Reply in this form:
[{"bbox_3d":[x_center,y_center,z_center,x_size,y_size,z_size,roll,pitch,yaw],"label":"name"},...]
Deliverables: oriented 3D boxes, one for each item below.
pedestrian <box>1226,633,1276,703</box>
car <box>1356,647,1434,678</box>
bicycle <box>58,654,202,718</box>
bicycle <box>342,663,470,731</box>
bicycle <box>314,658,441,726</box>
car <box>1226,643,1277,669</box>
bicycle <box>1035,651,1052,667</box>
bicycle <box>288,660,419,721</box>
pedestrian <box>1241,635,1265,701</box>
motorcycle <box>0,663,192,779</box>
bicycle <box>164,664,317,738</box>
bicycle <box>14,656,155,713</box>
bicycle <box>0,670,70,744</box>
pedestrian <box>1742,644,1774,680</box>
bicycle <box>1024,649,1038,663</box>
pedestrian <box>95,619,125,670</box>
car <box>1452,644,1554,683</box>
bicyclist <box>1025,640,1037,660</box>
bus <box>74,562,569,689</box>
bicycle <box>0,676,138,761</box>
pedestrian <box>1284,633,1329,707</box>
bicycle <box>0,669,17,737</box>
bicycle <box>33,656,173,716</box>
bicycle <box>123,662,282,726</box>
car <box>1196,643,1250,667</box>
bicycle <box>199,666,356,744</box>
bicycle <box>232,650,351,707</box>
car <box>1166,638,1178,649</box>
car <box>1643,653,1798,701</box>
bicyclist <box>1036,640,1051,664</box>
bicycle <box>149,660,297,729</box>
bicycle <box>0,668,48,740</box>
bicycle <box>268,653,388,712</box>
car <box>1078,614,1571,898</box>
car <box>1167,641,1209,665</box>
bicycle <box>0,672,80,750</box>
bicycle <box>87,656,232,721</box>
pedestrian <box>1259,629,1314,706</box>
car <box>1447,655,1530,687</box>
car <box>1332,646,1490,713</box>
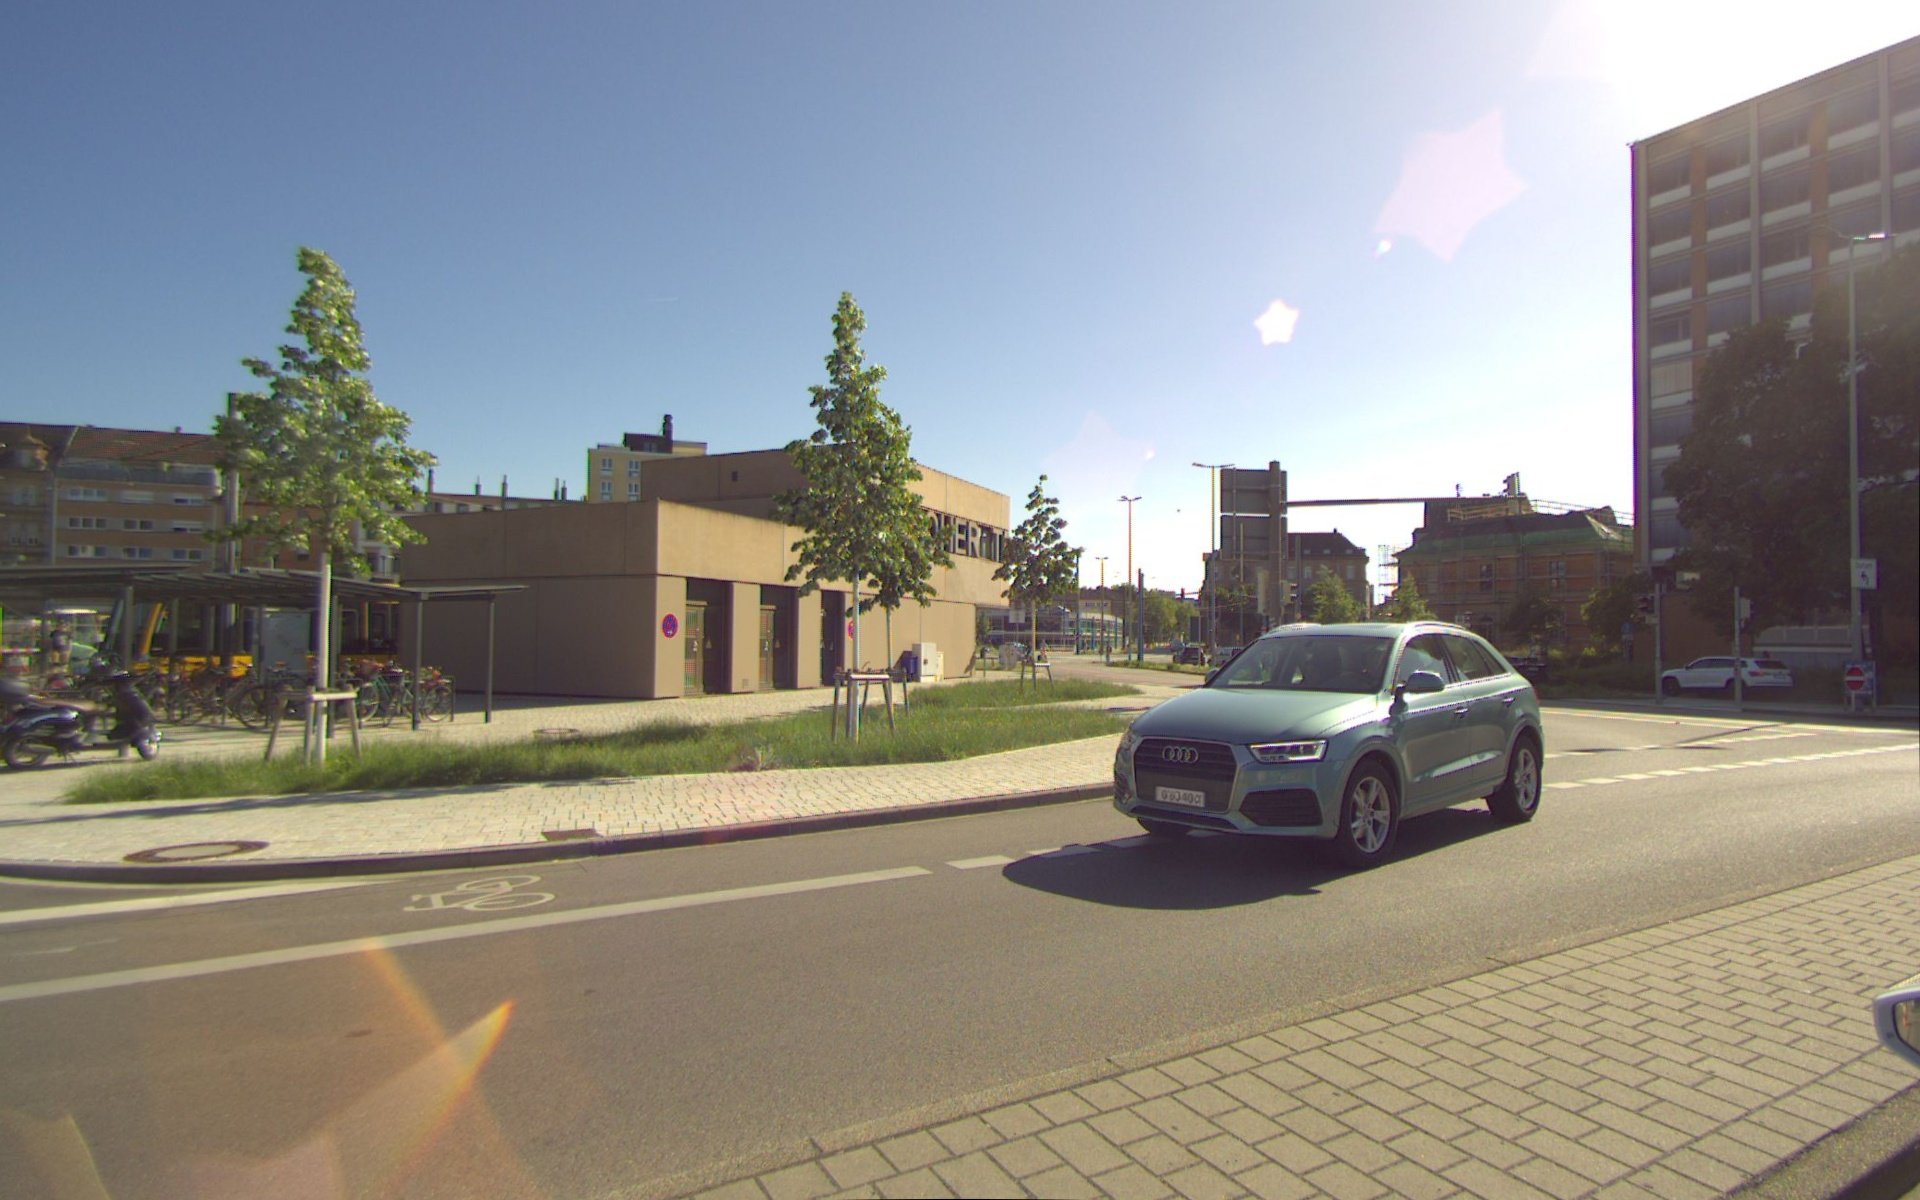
[{"bbox_3d":[7.368,1.726,25.429,0.831,1.711,0.896,5,-5,-34],"label":"pedestrian"},{"bbox_3d":[21.912,3.132,50.725,1.712,1.454,3.840,1,-2,-12],"label":"car"},{"bbox_3d":[-15.901,1.620,19.323,0.524,1.051,2.070,5,1,26],"label":"bicycle"},{"bbox_3d":[-9.966,1.717,18.164,0.524,1.051,2.070,2,0,26],"label":"bicycle"},{"bbox_3d":[-10.797,1.679,18.702,0.594,1.093,2.053,2,0,25],"label":"bicycle"},{"bbox_3d":[20.098,3.833,69.478,1.810,1.653,4.382,1,-2,-8],"label":"car"},{"bbox_3d":[5.356,3.809,64.560,0.727,1.008,1.989,1,-4,-7],"label":"bicycle"},{"bbox_3d":[-11.761,1.728,19.575,0.679,1.011,2.140,2,0,26],"label":"bicycle"},{"bbox_3d":[7.888,1.823,27.078,0.585,1.751,0.580,0,-2,14],"label":"pedestrian"},{"bbox_3d":[-10.848,1.444,12.479,0.558,1.235,2.087,0,-1,21],"label":"motorcycle"},{"bbox_3d":[-11.987,1.649,16.817,0.524,1.051,2.070,2,0,26],"label":"bicycle"},{"bbox_3d":[-17.771,1.693,20.460,0.524,1.051,2.070,5,0,26],"label":"bicycle"},{"bbox_3d":[-13.695,1.528,14.177,0.399,0.985,1.683,2,0,22],"label":"bicycle"},{"bbox_3d":[36.284,2.806,45.680,0.549,1.591,0.862,0,-5,-9],"label":"pedestrian"},{"bbox_3d":[5.128,4.031,72.337,0.674,0.930,1.989,1,-4,-6],"label":"bicycle"},{"bbox_3d":[-32.261,1.686,38.127,0.520,1.896,0.644,0,-2,24],"label":"pedestrian"},{"bbox_3d":[25.165,2.917,46.717,1.812,1.653,4.378,1,-2,-12],"label":"car"},{"bbox_3d":[5.134,3.592,72.364,0.674,1.440,1.127,1,-4,-7],"label":"bicyclist"},{"bbox_3d":[-18.479,0.863,31.260,2.810,3.112,13.620,0,-2,25],"label":"bus"},{"bbox_3d":[-12.202,1.570,13.581,0.399,0.985,1.683,2,0,22],"label":"bicycle"},{"bbox_3d":[8.246,1.673,23.910,0.783,1.711,0.786,-2,-6,39],"label":"pedestrian"},{"bbox_3d":[-14.717,1.538,14.428,0.399,0.985,1.683,2,0,22],"label":"bicycle"},{"bbox_3d":[-16.883,1.673,19.852,0.524,1.051,2.070,-2,-2,26],"label":"bicycle"},{"bbox_3d":[-13.708,1.674,18.264,0.673,0.956,2.233,2,0,25],"label":"bicycle"},{"bbox_3d":[17.220,3.587,66.032,1.809,1.406,4.897,1,-2,-6],"label":"car"},{"bbox_3d":[-10.902,1.646,16.136,0.524,1.051,2.070,2,0,26],"label":"bicycle"},{"bbox_3d":[-13.916,1.611,20.996,0.524,1.051,2.070,2,0,26],"label":"bicycle"},{"bbox_3d":[41.579,8.560,197.203,1.959,2.040,4.003,0,-2,7],"label":"car"},{"bbox_3d":[29.683,2.975,39.435,1.812,1.653,4.827,1,-2,-13],"label":"car"},{"bbox_3d":[5.357,3.321,64.583,0.727,1.519,1.071,1,-3,-7],"label":"bicyclist"},{"bbox_3d":[-12.898,1.626,17.660,0.524,1.051,2.070,2,0,26],"label":"bicycle"},{"bbox_3d":[-14.199,1.522,14.378,0.399,0.985,1.683,2,0,22],"label":"bicycle"},{"bbox_3d":[-12.742,1.644,20.331,0.524,1.051,2.070,2,0,26],"label":"bicycle"},{"bbox_3d":[2.989,0.983,7.767,4.225,1.602,1.772,2,-4,-41],"label":"car"},{"bbox_3d":[16.987,3.949,75.127,1.809,1.653,4.384,1,-2,-5],"label":"car"},{"bbox_3d":[-13.229,1.540,13.816,0.399,0.985,1.683,2,0,22],"label":"bicycle"},{"bbox_3d":[-15.016,1.637,18.908,0.524,1.051,2.070,5,1,26],"label":"bicycle"},{"bbox_3d":[8.005,1.669,24.679,1.086,1.822,0.702,3,-5,-19],"label":"pedestrian"},{"bbox_3d":[26.961,3.607,51.353,1.713,1.454,3.840,2,-2,-12],"label":"car"},{"bbox_3d":[11.320,1.977,25.643,1.784,1.524,4.786,-1,-3,-1],"label":"car"}]
